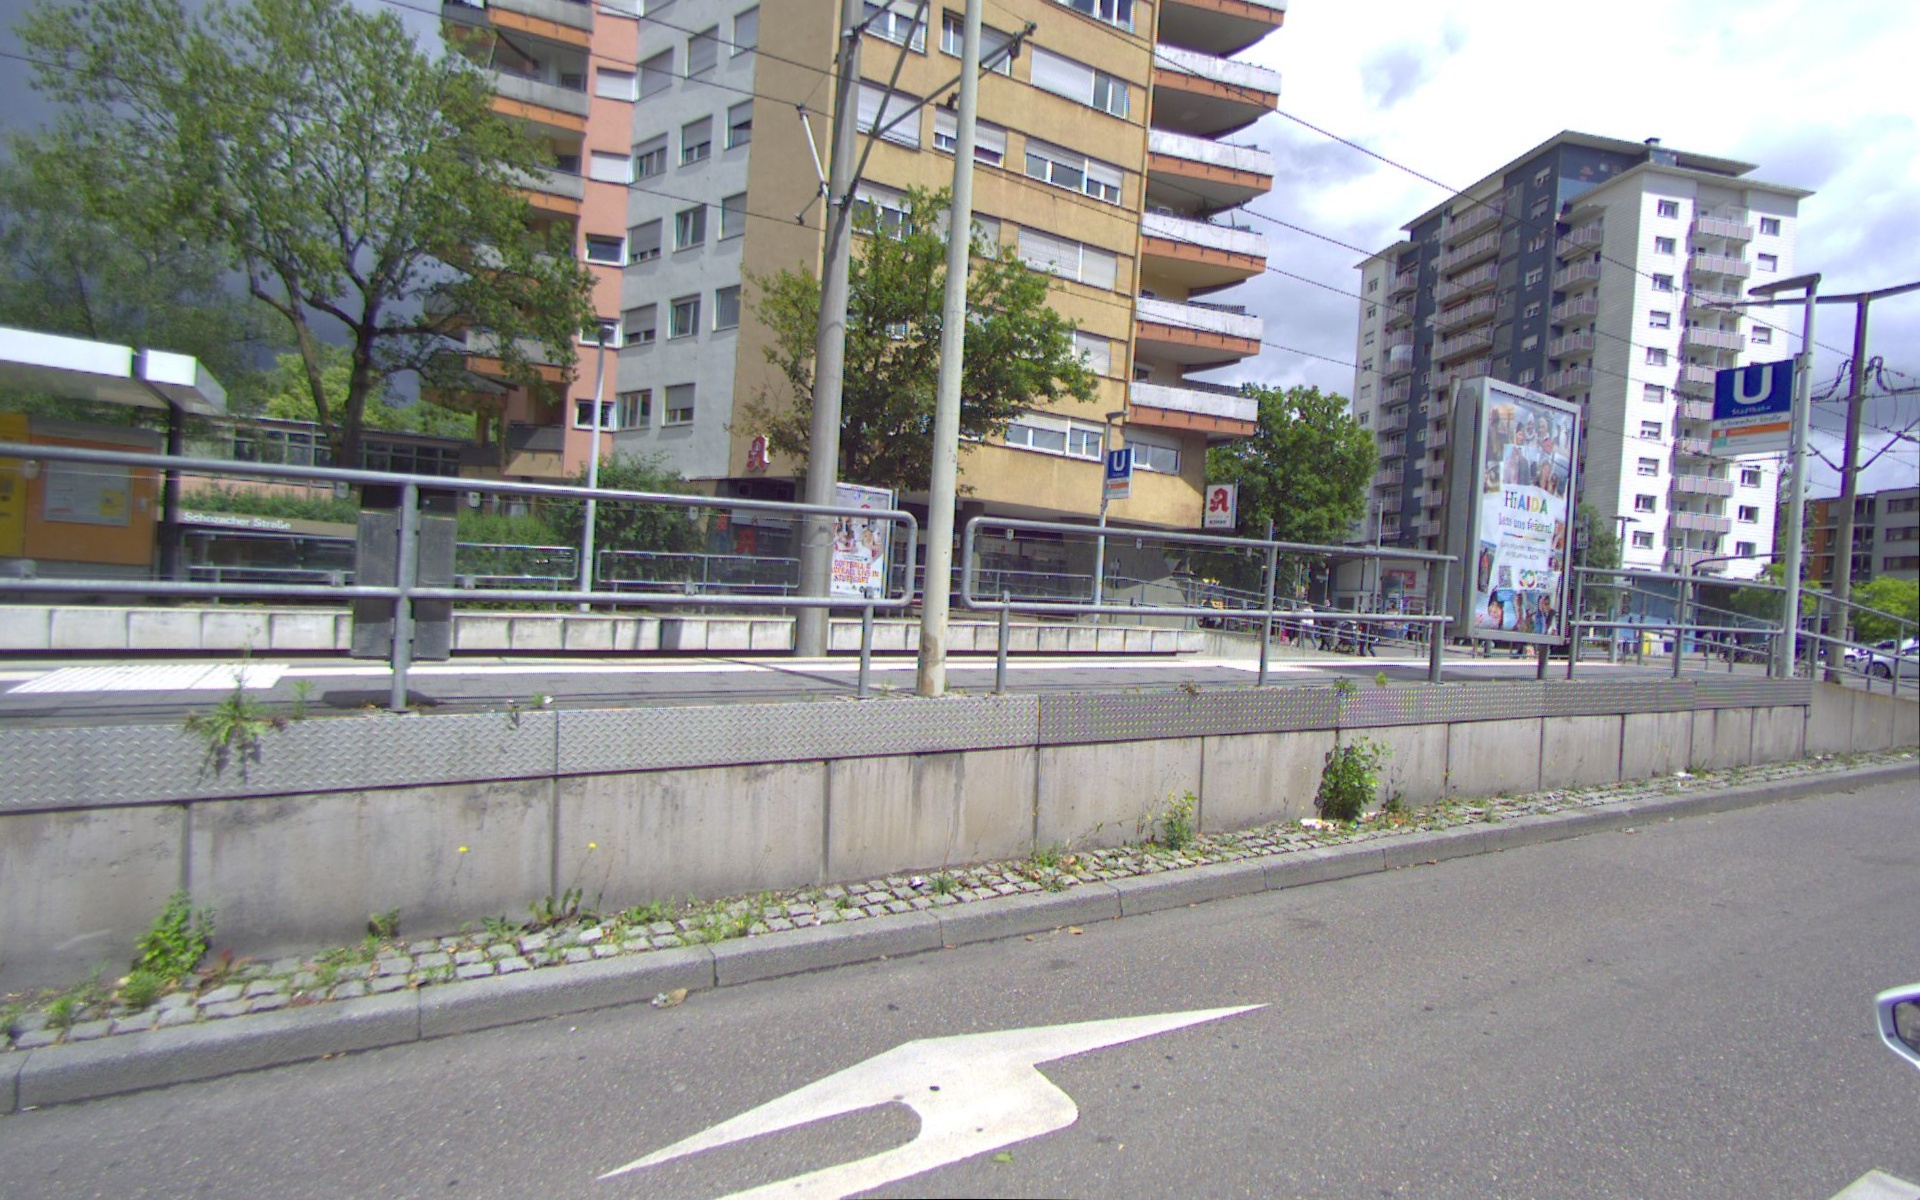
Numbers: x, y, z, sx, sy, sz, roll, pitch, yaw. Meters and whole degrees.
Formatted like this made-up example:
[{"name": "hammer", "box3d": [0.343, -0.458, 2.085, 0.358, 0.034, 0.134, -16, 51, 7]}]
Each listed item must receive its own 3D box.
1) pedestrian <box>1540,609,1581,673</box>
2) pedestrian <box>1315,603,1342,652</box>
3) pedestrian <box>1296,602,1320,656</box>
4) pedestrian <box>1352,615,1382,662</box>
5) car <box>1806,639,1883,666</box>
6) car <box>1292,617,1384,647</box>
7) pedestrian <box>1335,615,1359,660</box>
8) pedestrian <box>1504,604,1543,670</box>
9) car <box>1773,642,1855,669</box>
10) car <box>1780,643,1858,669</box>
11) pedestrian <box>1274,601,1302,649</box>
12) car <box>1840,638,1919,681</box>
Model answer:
[{"name": "pedestrian", "box3d": [15.928, 1.081, 26.639, 0.692, 1.654, 0.635, 1, -1, -21]}, {"name": "pedestrian", "box3d": [12.291, 0.919, 33.508, 0.611, 1.599, 0.861, 2, 0, 7]}, {"name": "pedestrian", "box3d": [11.356, 0.931, 32.782, 0.668, 1.729, 0.827, 2, 0, 17]}, {"name": "pedestrian", "box3d": [12.075, 1.124, 29.775, 0.677, 1.360, 0.859, 2, 0, 30]}, {"name": "car", "box3d": [58.532, 3.471, 66.512, 1.602, 1.482, 3.576, 2, 1, -37]}, {"name": "car", "box3d": [21.381, 1.789, 56.925, 1.929, 1.546, 4.533, 2, -1, -40]}, {"name": "pedestrian", "box3d": [11.865, 1.138, 30.778, 0.543, 1.360, 0.669, 2, 0, 12]}, {"name": "pedestrian", "box3d": [15.156, 0.994, 27.008, 0.846, 1.719, 0.687, 2, 0, 33]}, {"name": "car", "box3d": [52.126, 3.360, 61.377, 1.602, 1.482, 3.576, 2, 0, -37]}, {"name": "car", "box3d": [55.169, 3.580, 64.566, 1.602, 1.482, 3.576, 2, 0, -37]}, {"name": "pedestrian", "box3d": [11.378, 0.856, 34.848, 0.759, 1.604, 0.610, 2, 0, 6]}, {"name": "car", "box3d": [35.682, 2.224, 37.023, 1.982, 1.500, 4.605, 2, -1, -37]}]
